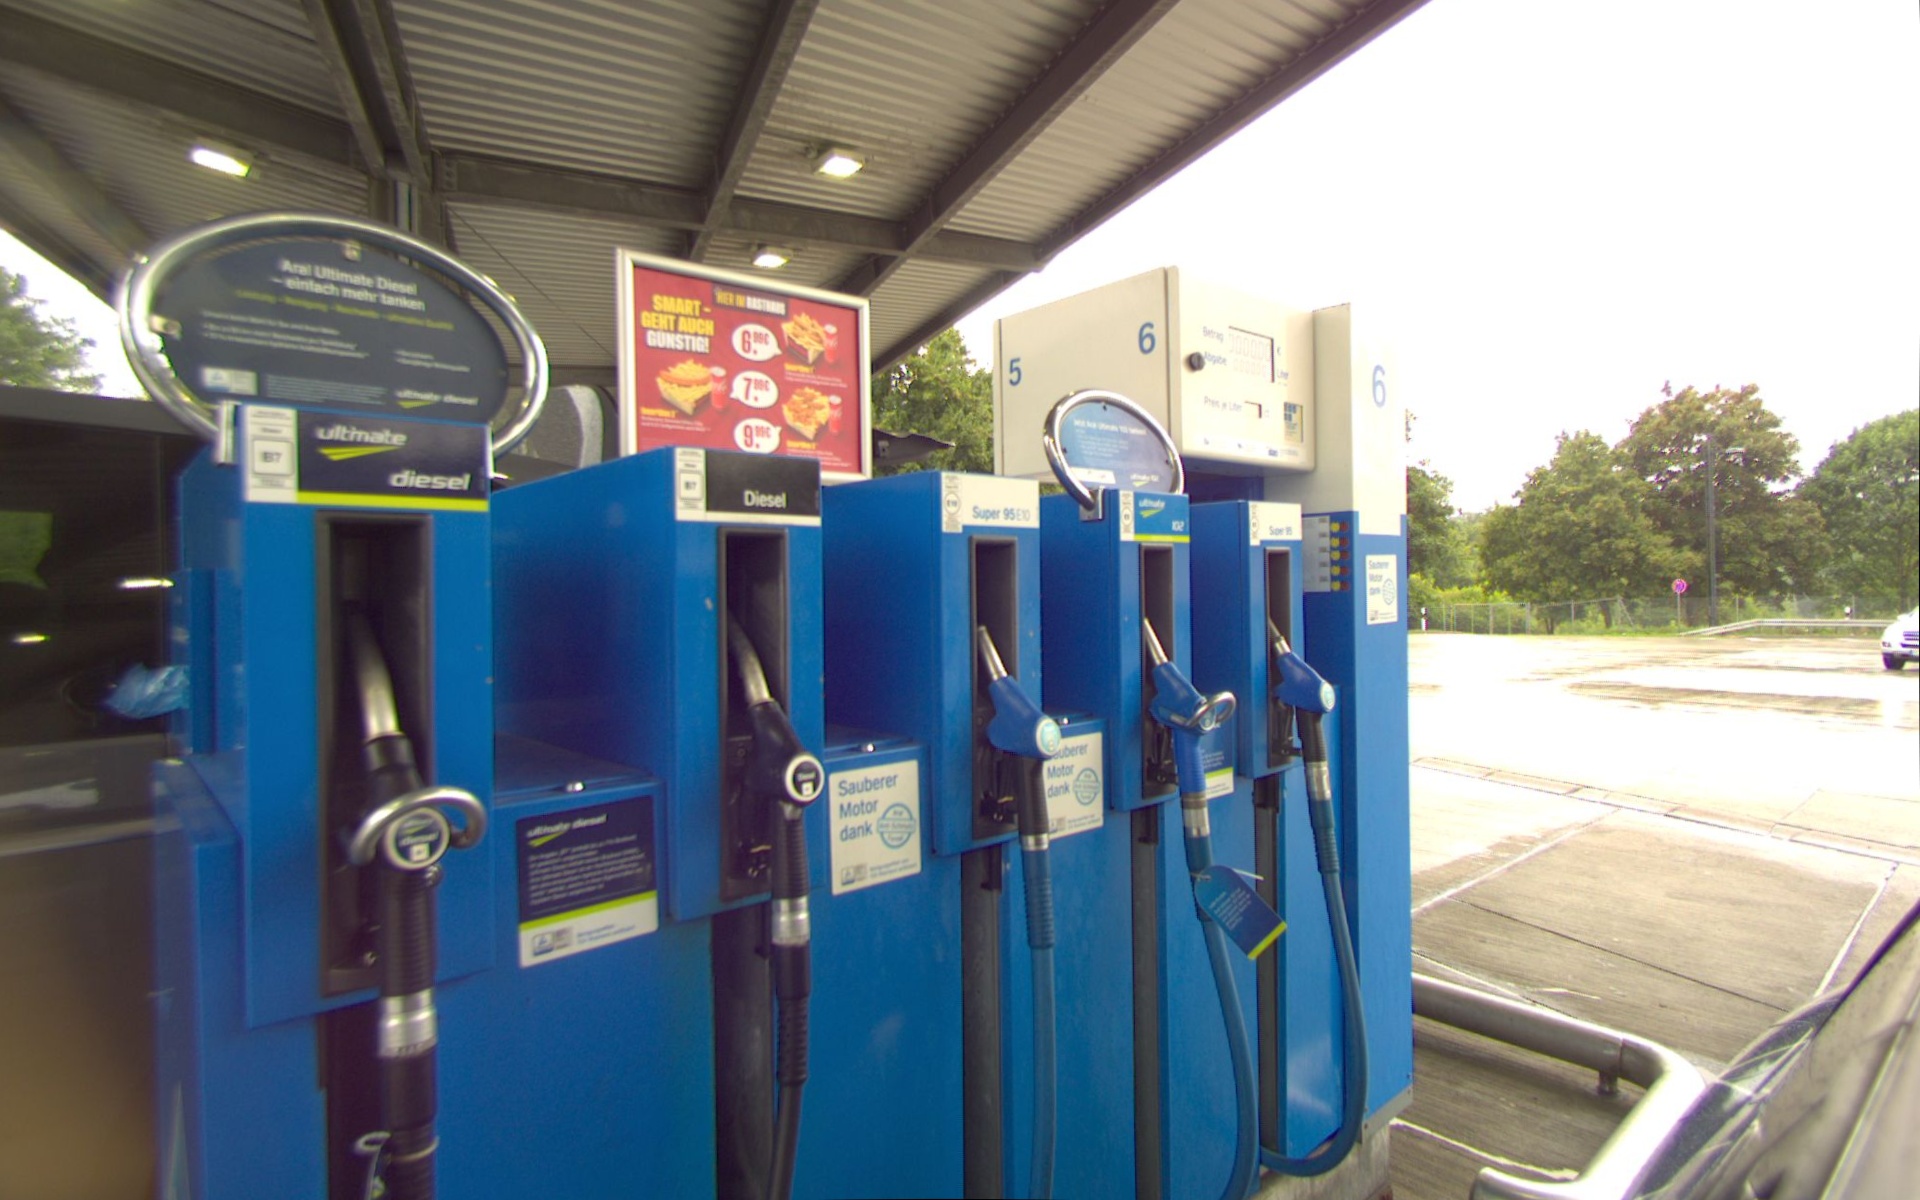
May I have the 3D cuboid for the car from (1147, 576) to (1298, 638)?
[{"bbox_3d":[8.881,0.208,34.503,4.817,1.974,2.306,1,1,14],"label":"car"}]

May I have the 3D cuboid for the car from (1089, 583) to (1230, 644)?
[{"bbox_3d":[5.865,0.375,29.730,3.941,1.680,1.593,1,0,14],"label":"car"}]

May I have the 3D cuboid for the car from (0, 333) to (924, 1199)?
[{"bbox_3d":[-2.607,0.502,1.817,5.050,1.821,1.864,-1,0,-41],"label":"car"}]

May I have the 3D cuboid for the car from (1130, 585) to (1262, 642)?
[{"bbox_3d":[7.419,0.386,31.920,3.941,1.680,1.593,1,0,14],"label":"car"}]

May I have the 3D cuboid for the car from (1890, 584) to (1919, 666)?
[{"bbox_3d":[23.473,0.564,23.172,4.447,1.821,1.870,0,0,-29],"label":"car"}]
